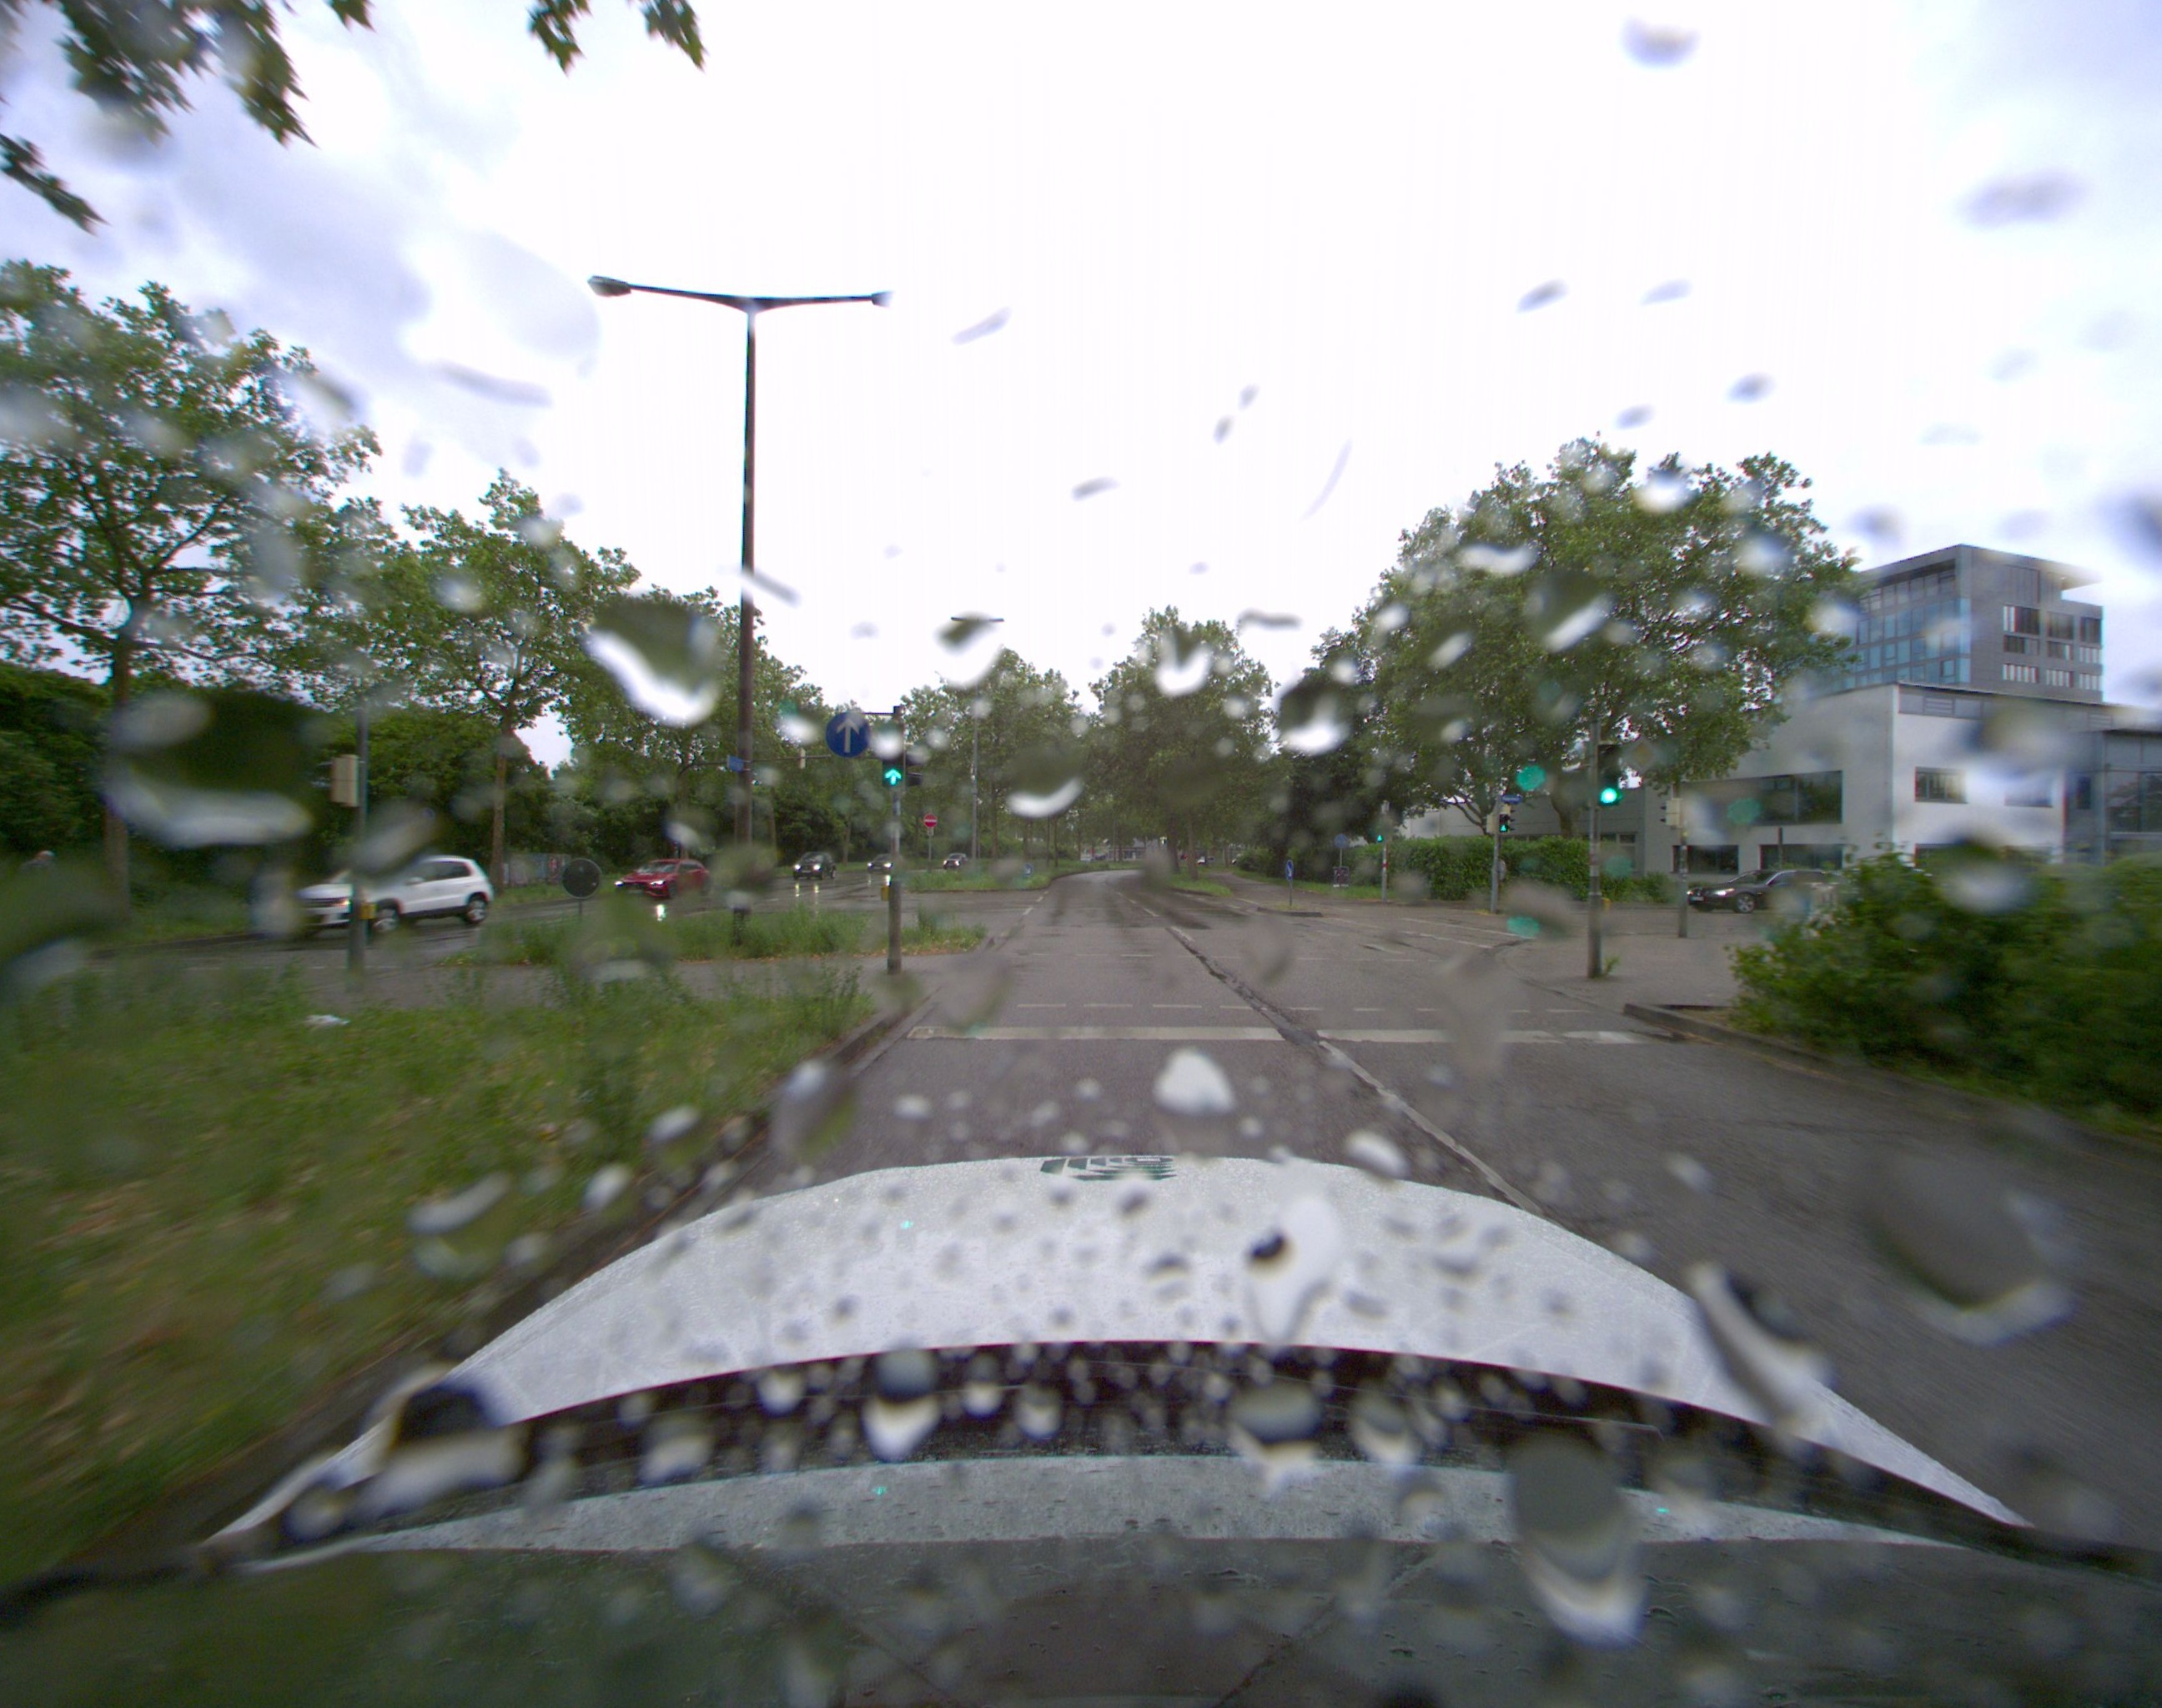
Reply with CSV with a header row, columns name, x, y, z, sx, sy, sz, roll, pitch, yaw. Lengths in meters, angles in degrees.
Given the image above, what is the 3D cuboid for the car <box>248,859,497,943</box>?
name,x,y,z,sx,sy,sz,roll,pitch,yaw
car,-15.411,0.928,18.120,1.739,1.631,4.441,0,0,-2

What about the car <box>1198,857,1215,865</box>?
name,x,y,z,sx,sy,sz,roll,pitch,yaw
car,24.931,1.437,161.708,1.953,1.564,4.759,0,0,27

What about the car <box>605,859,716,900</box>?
name,x,y,z,sx,sy,sz,roll,pitch,yaw
car,-15.361,0.885,30.055,1.737,1.408,4.444,0,0,1

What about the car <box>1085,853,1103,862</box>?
name,x,y,z,sx,sy,sz,roll,pitch,yaw
car,3.068,0.935,189.910,3.984,2.014,1.994,1,-2,-8

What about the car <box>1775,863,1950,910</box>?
name,x,y,z,sx,sy,sz,roll,pitch,yaw
car,27.148,1.104,28.394,4.276,1.590,1.889,0,0,1

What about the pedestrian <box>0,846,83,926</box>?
name,x,y,z,sx,sy,sz,roll,pitch,yaw
pedestrian,-22.488,0.679,17.554,0.828,1.674,0.899,0,0,0

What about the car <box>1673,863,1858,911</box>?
name,x,y,z,sx,sy,sz,roll,pitch,yaw
car,21.793,1.032,26.066,4.361,1.483,1.853,0,-1,1

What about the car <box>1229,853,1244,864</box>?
name,x,y,z,sx,sy,sz,roll,pitch,yaw
car,33.883,0.930,177.319,2.263,2.271,5.999,0,0,22

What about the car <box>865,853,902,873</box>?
name,x,y,z,sx,sy,sz,roll,pitch,yaw
car,-14.240,0.634,58.884,1.581,1.373,4.263,0,0,1

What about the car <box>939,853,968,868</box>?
name,x,y,z,sx,sy,sz,roll,pitch,yaw
car,-11.749,0.605,75.015,1.579,1.373,4.269,0,0,6

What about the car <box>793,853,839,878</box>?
name,x,y,z,sx,sy,sz,roll,pitch,yaw
car,-15.139,0.662,46.737,1.582,1.373,3.333,0,0,-1
